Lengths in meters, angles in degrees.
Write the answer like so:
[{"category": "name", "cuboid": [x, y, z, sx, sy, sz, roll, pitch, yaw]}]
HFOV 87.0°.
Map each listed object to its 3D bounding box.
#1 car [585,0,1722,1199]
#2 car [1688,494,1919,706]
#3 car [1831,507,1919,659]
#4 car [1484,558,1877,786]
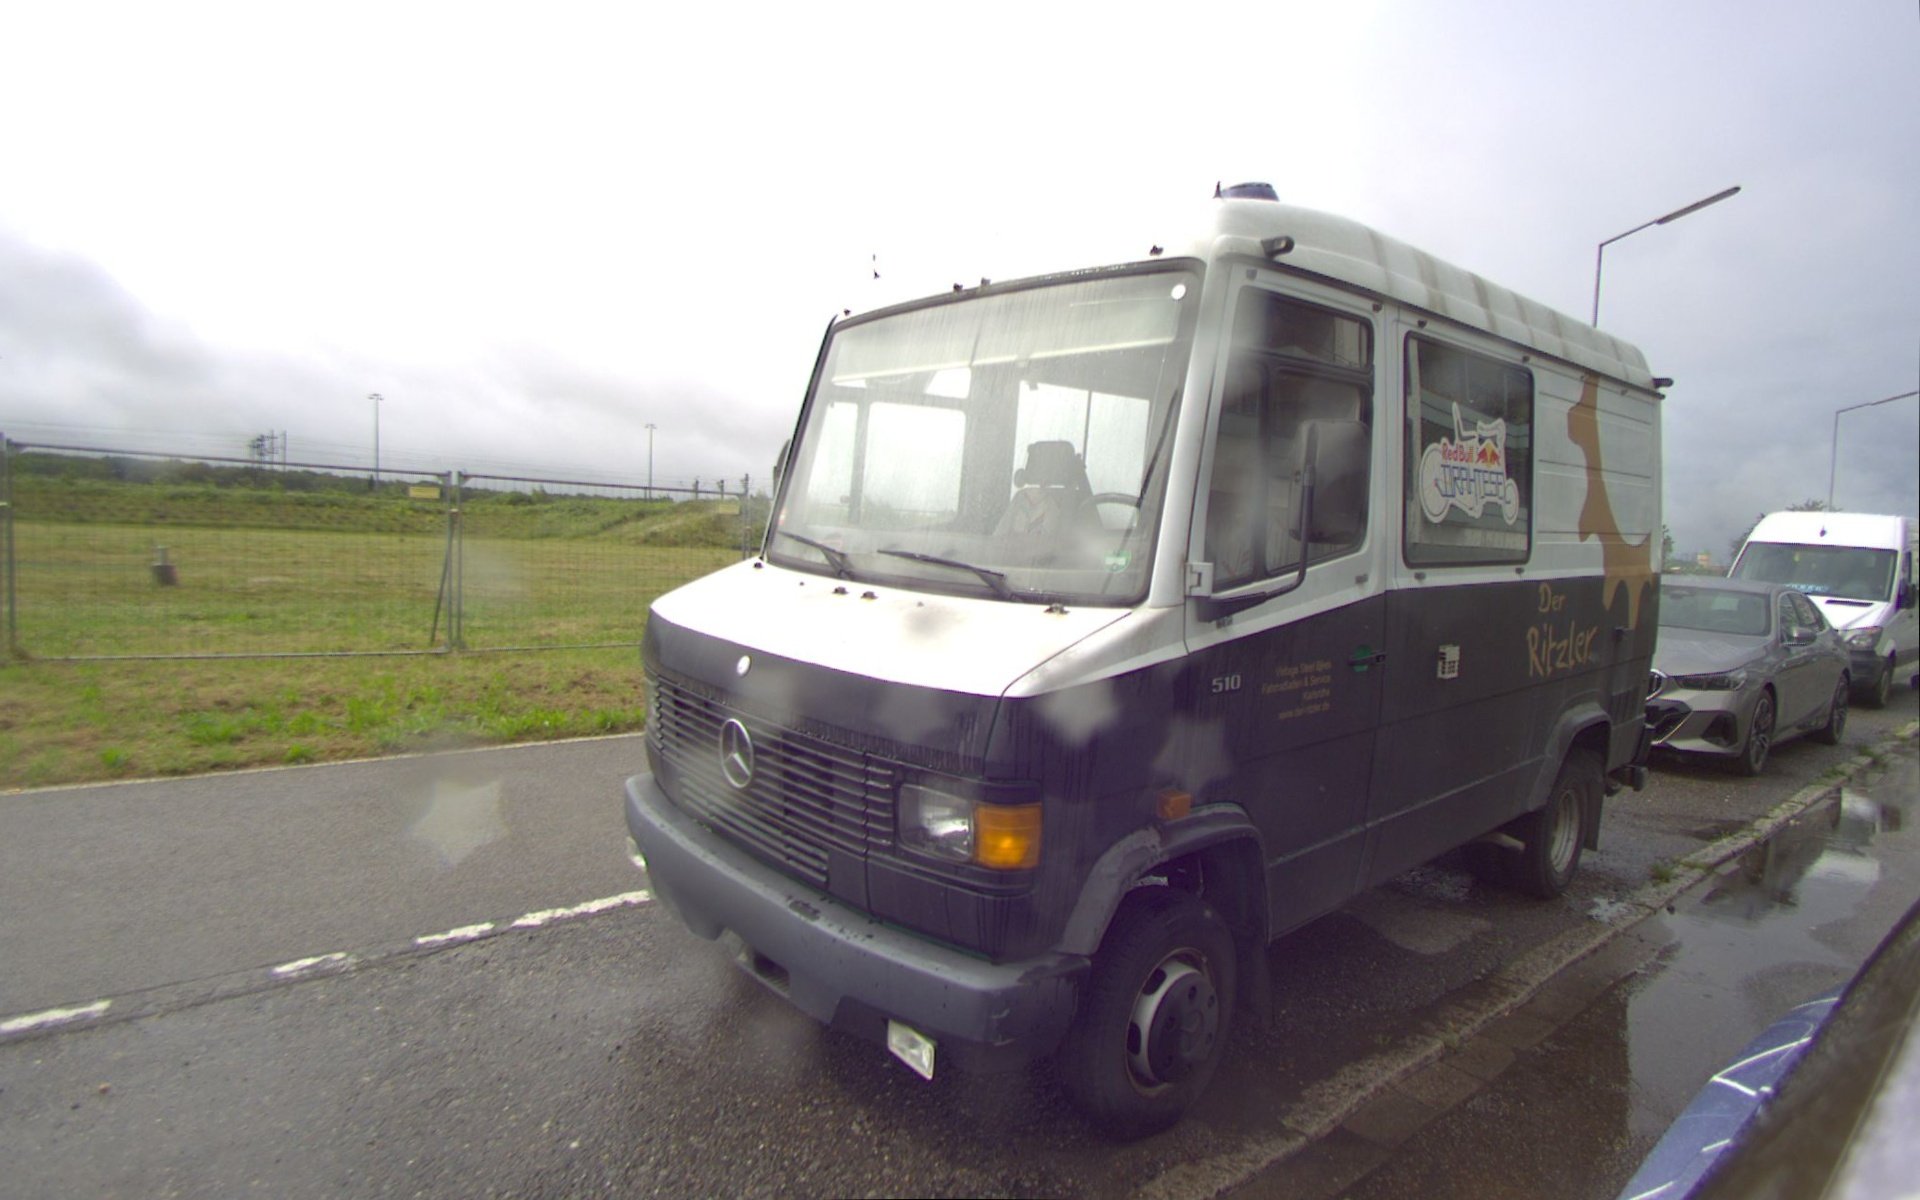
[{"category": "car", "cuboid": [1.348, -0.195, 4.519, 5.186, 2.917, 2.149, -1, 6, -43]}, {"category": "car", "cuboid": [13.226, -0.067, 15.116, 6.538, 2.559, 2.074, 0, 4, -40]}, {"category": "car", "cuboid": [21.532, -0.333, 22.058, 6.761, 2.991, 2.478, 0, 4, -38]}, {"category": "car", "cuboid": [6.640, 0.476, 9.140, 4.361, 1.512, 1.735, 0, 5, -39]}]
